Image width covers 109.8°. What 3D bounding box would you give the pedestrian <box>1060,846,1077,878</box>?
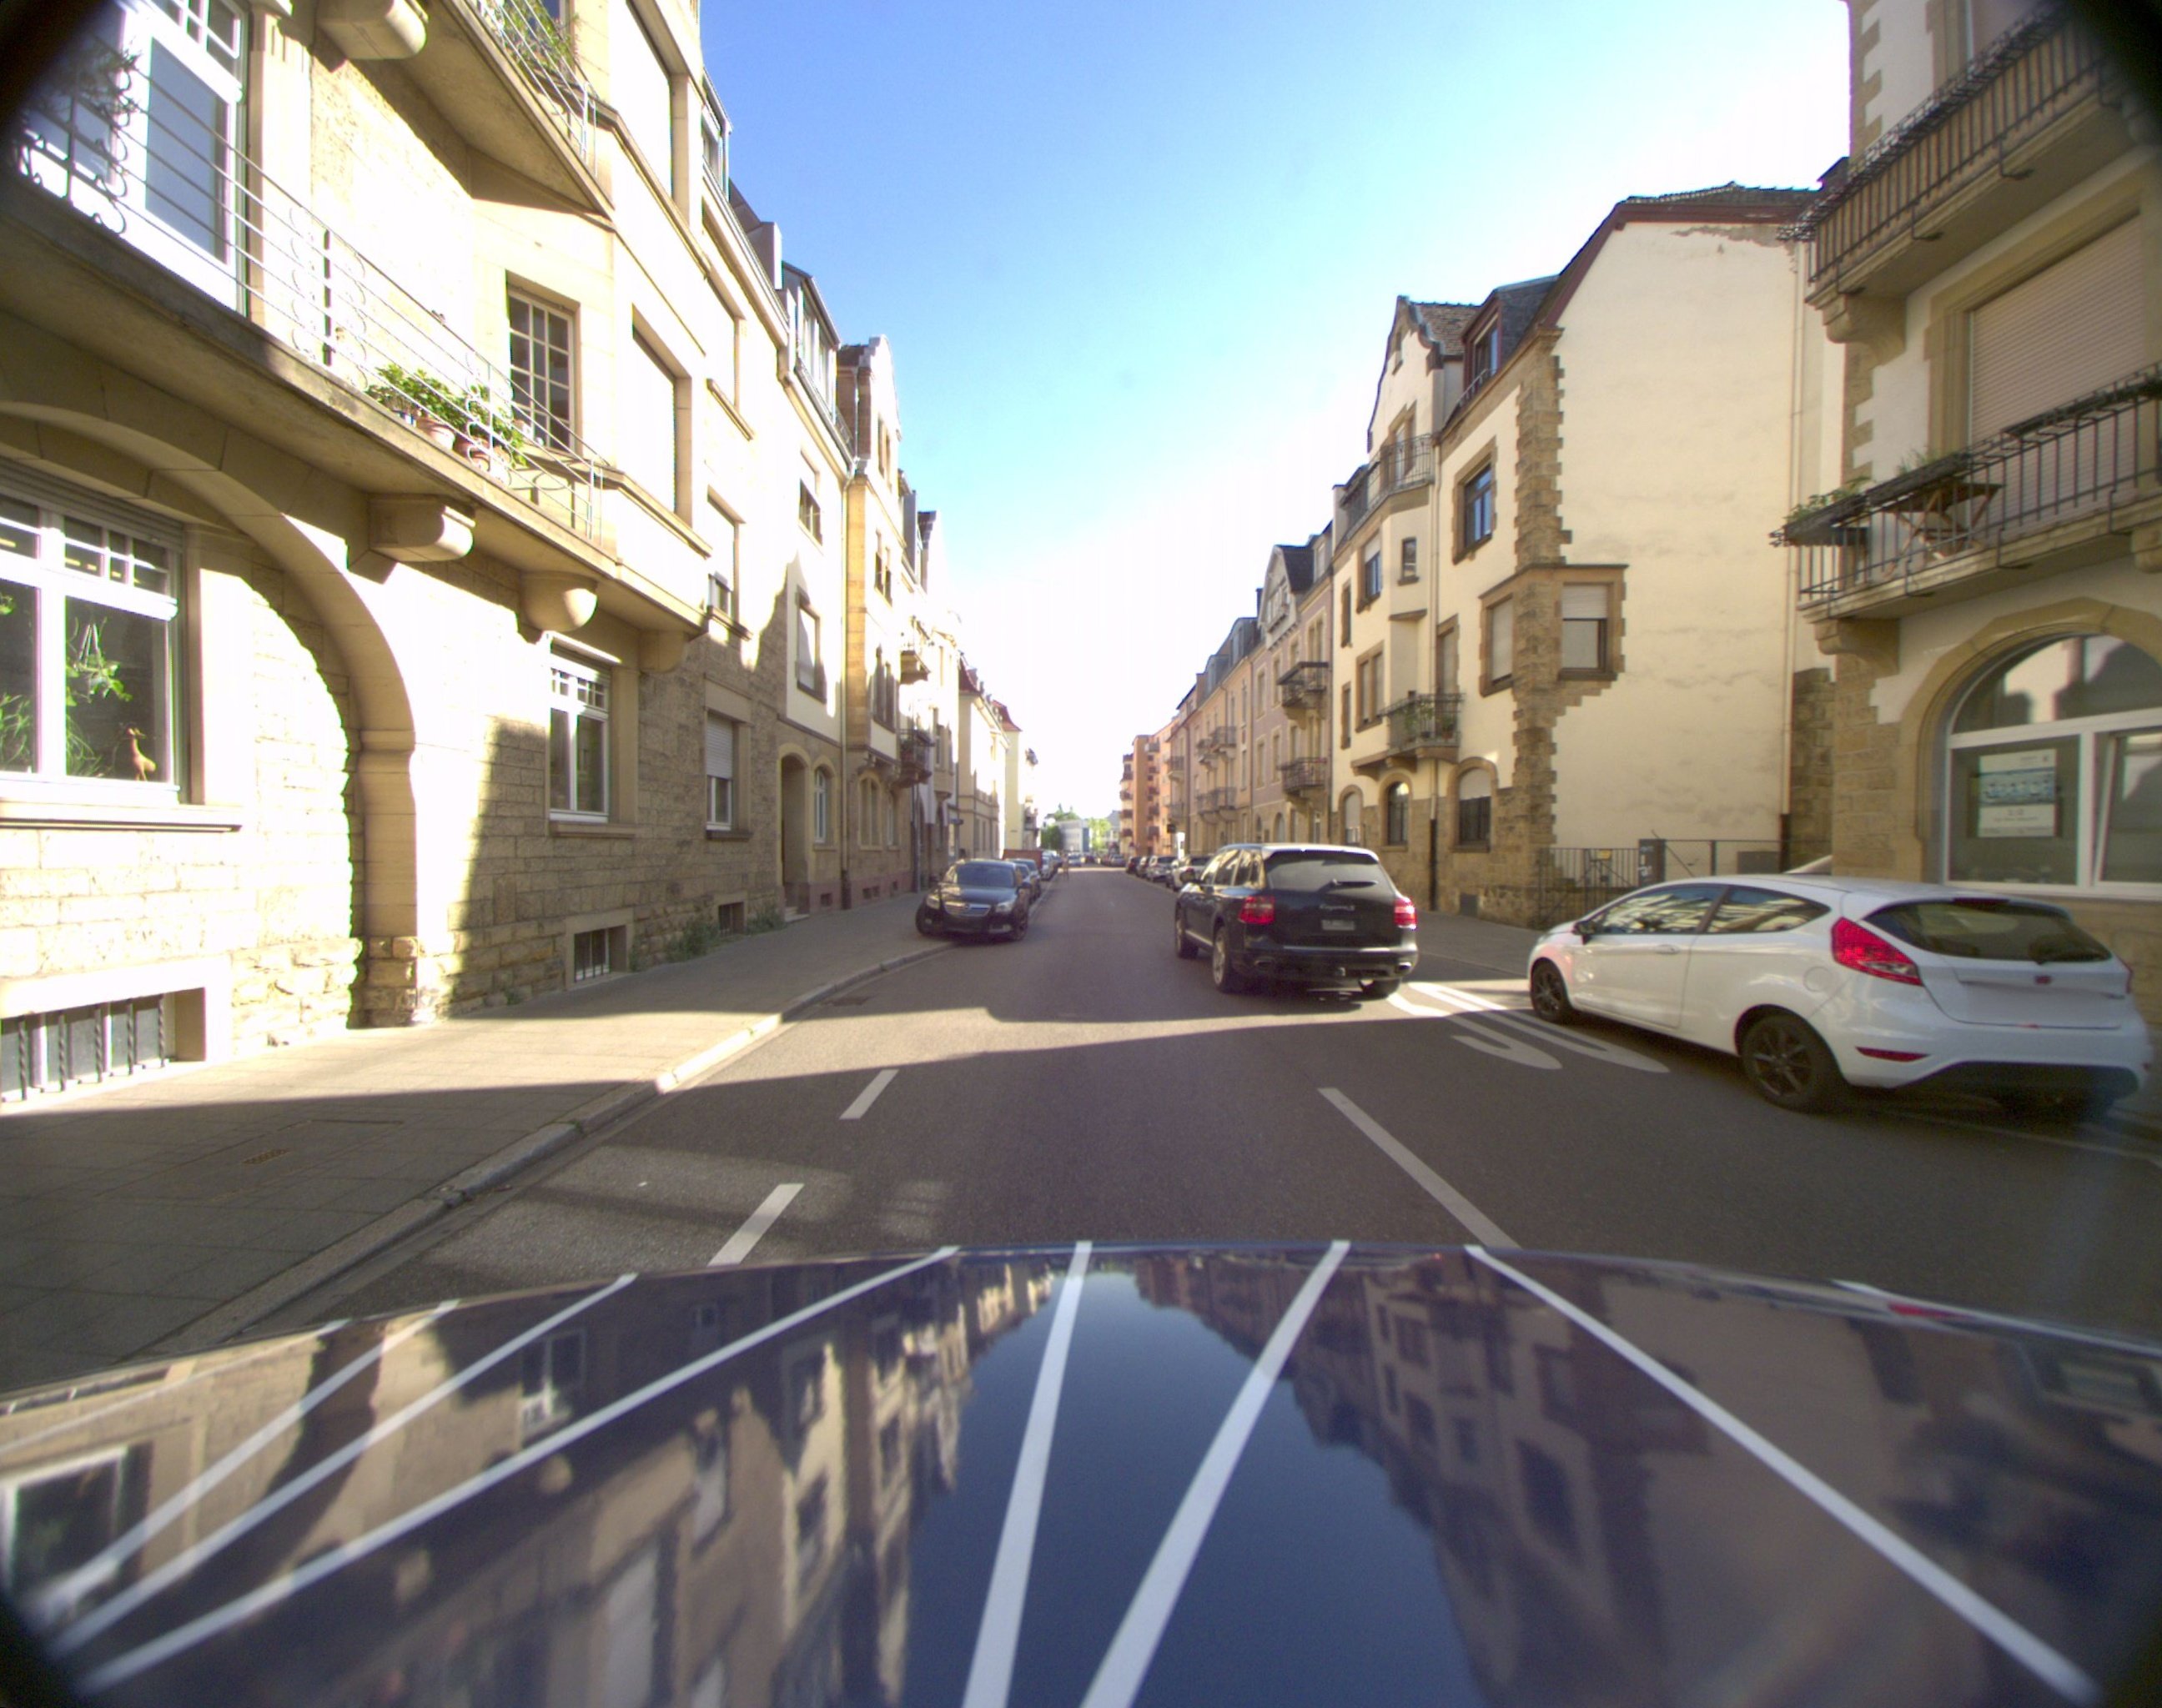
[{"bbox_3d":[-0.772,0.502,48.826,0.952,2.002,1.066,-2,1,2],"label":"pedestrian"}]

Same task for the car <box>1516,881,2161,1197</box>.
[{"bbox_3d":[5.109,1.014,5.698,1.656,1.449,3.643,2,0,2],"label":"car"}]

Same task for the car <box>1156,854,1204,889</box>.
[{"bbox_3d":[4.851,0.817,37.806,1.857,1.491,4.318,-2,1,1],"label":"car"}]

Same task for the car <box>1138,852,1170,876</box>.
[{"bbox_3d":[4.987,0.669,52.350,1.809,1.500,4.003,-2,1,1],"label":"car"}]

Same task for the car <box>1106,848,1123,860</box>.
[{"bbox_3d":[4.510,0.004,101.957,2.005,1.500,4.320,1,1,-1],"label":"car"}]

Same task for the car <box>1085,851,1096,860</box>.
[{"bbox_3d":[1.552,0.210,122.103,1.656,1.449,3.642,0,1,-1],"label":"car"}]

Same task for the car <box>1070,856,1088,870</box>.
[{"bbox_3d":[-0.261,1.042,89.751,2.005,1.500,4.320,1,1,-1],"label":"car"}]

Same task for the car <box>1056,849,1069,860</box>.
[{"bbox_3d":[-2.950,0.070,123.335,2.005,1.722,4.320,1,1,-1],"label":"car"}]

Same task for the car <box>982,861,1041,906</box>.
[{"bbox_3d":[-2.237,0.926,25.377,1.661,1.272,3.729,1,1,-1],"label":"car"}]

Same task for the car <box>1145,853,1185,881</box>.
[{"bbox_3d":[5.016,0.734,45.831,1.890,1.500,4.320,-2,1,1],"label":"car"}]

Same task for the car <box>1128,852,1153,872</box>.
[{"bbox_3d":[4.887,0.642,62.972,1.793,1.500,4.320,-2,1,1],"label":"car"}]

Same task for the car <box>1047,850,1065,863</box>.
[{"bbox_3d":[-2.851,0.267,88.978,2.005,1.500,4.320,1,1,-1],"label":"car"}]

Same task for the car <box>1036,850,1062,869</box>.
[{"bbox_3d":[-2.678,0.452,64.498,2.005,1.500,4.320,1,1,-1],"label":"car"}]

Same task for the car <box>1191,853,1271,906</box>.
[{"bbox_3d":[5.119,0.820,26.544,1.890,1.500,4.320,-4,1,1],"label":"car"}]

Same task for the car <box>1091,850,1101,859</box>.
[{"bbox_3d":[2.604,0.072,131.184,1.656,1.449,3.642,0,1,-1],"label":"car"}]

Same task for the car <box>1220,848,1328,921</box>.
[{"bbox_3d":[5.196,0.747,21.037,1.890,1.717,4.211,-2,1,1],"label":"car"}]

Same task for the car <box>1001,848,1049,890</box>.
[{"bbox_3d":[-2.563,0.651,35.740,2.005,1.828,4.320,1,1,-1],"label":"car"}]

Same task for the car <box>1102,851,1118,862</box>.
[{"bbox_3d":[4.104,0.289,107.251,2.005,1.500,4.320,1,1,-1],"label":"car"}]

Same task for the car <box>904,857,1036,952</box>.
[{"bbox_3d":[-2.040,0.881,15.211,2.024,1.500,4.111,2,1,-1],"label":"car"}]

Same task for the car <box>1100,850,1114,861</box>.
[{"bbox_3d":[3.950,0.189,116.759,2.005,1.500,4.320,1,1,-1],"label":"car"}]

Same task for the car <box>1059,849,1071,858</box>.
[{"bbox_3d":[-2.867,-0.066,136.655,2.005,1.500,4.320,1,1,-1],"label":"car"}]

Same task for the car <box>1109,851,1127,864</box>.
[{"bbox_3d":[4.615,0.393,96.205,2.005,1.500,4.320,1,1,-1],"label":"car"}]

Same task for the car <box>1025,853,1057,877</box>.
[{"bbox_3d":[-2.753,0.737,52.640,2.005,1.500,4.320,1,1,-1],"label":"car"}]

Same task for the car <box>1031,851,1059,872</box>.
[{"bbox_3d":[-2.750,0.536,58.665,2.005,1.500,4.320,1,1,-1],"label":"car"}]

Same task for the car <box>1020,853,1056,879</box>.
[{"bbox_3d":[-2.658,0.717,47.866,2.005,1.500,4.320,1,1,-1],"label":"car"}]

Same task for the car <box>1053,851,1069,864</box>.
[{"bbox_3d":[-2.591,0.432,99.952,2.005,1.500,4.320,1,1,-1],"label":"car"}]

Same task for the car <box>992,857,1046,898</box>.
[{"bbox_3d":[-2.389,0.890,30.119,1.824,1.415,4.320,1,1,-1],"label":"car"}]

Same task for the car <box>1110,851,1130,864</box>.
[{"bbox_3d":[4.666,0.410,91.391,2.005,1.500,4.320,1,1,-1],"label":"car"}]

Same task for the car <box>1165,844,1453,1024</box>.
[{"bbox_3d":[2.449,0.790,9.624,2.078,1.684,4.708,1,0,-2],"label":"car"}]

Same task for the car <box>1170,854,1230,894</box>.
[{"bbox_3d":[4.980,0.795,32.365,1.890,1.500,4.320,-2,1,1],"label":"car"}]

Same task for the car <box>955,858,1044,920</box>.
[{"bbox_3d":[-2.100,0.873,20.798,2.005,1.499,4.321,1,0,-1],"label":"car"}]
